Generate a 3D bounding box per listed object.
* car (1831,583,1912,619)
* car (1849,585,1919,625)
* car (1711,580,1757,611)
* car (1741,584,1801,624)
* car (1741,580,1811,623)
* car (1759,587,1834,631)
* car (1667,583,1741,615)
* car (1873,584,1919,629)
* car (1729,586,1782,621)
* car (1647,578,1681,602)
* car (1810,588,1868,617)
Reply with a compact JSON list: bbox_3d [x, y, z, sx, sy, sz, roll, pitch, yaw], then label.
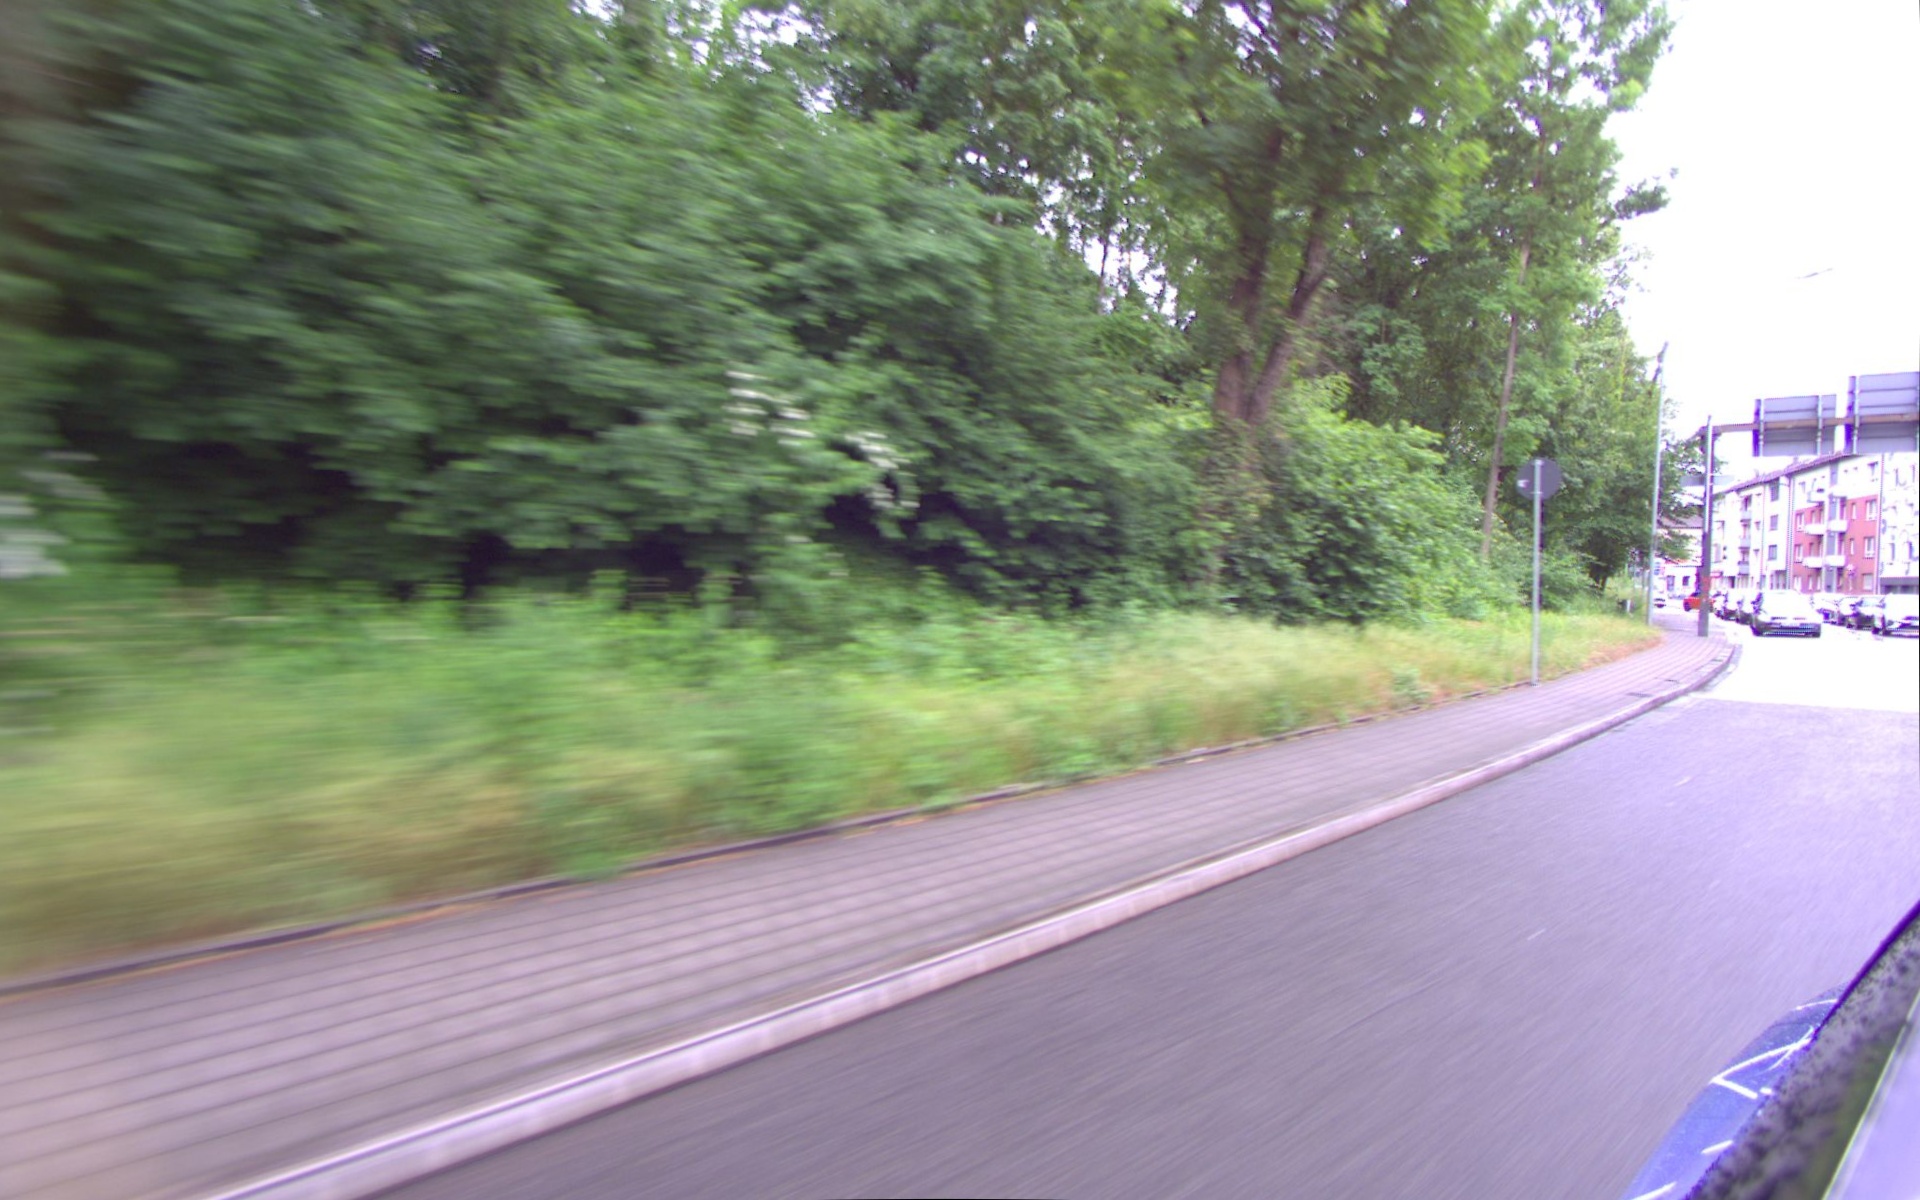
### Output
[{"bbox_3d":[41.780,0.016,46.491,1.986,1.496,4.566,2,2,33],"label":"car"},{"bbox_3d":[38.782,0.172,42.208,1.907,1.496,4.564,3,2,34],"label":"car"},{"bbox_3d":[44.261,-0.282,57.911,1.670,1.676,3.954,2,2,32],"label":"car"},{"bbox_3d":[37.415,0.148,46.773,1.670,1.676,3.954,2,2,32],"label":"car"},{"bbox_3d":[33.443,0.033,41.588,1.988,1.637,4.559,2,2,36],"label":"car"},{"bbox_3d":[29.229,0.268,35.459,1.810,1.426,4.175,2,2,37],"label":"car"},{"bbox_3d":[50.807,-0.089,69.212,1.964,2.038,4.483,1,1,5],"label":"car"},{"bbox_3d":[34.354,0.219,36.112,1.866,1.496,4.501,2,2,33],"label":"car"},{"bbox_3d":[40.874,0.141,52.059,1.670,1.676,3.954,2,2,32],"label":"car"},{"bbox_3d":[52.088,-0.750,74.972,1.897,1.732,4.839,1,1,33],"label":"car"},{"bbox_3d":[44.539,0.096,51.358,1.701,1.411,3.951,2,2,34],"label":"car"}]
